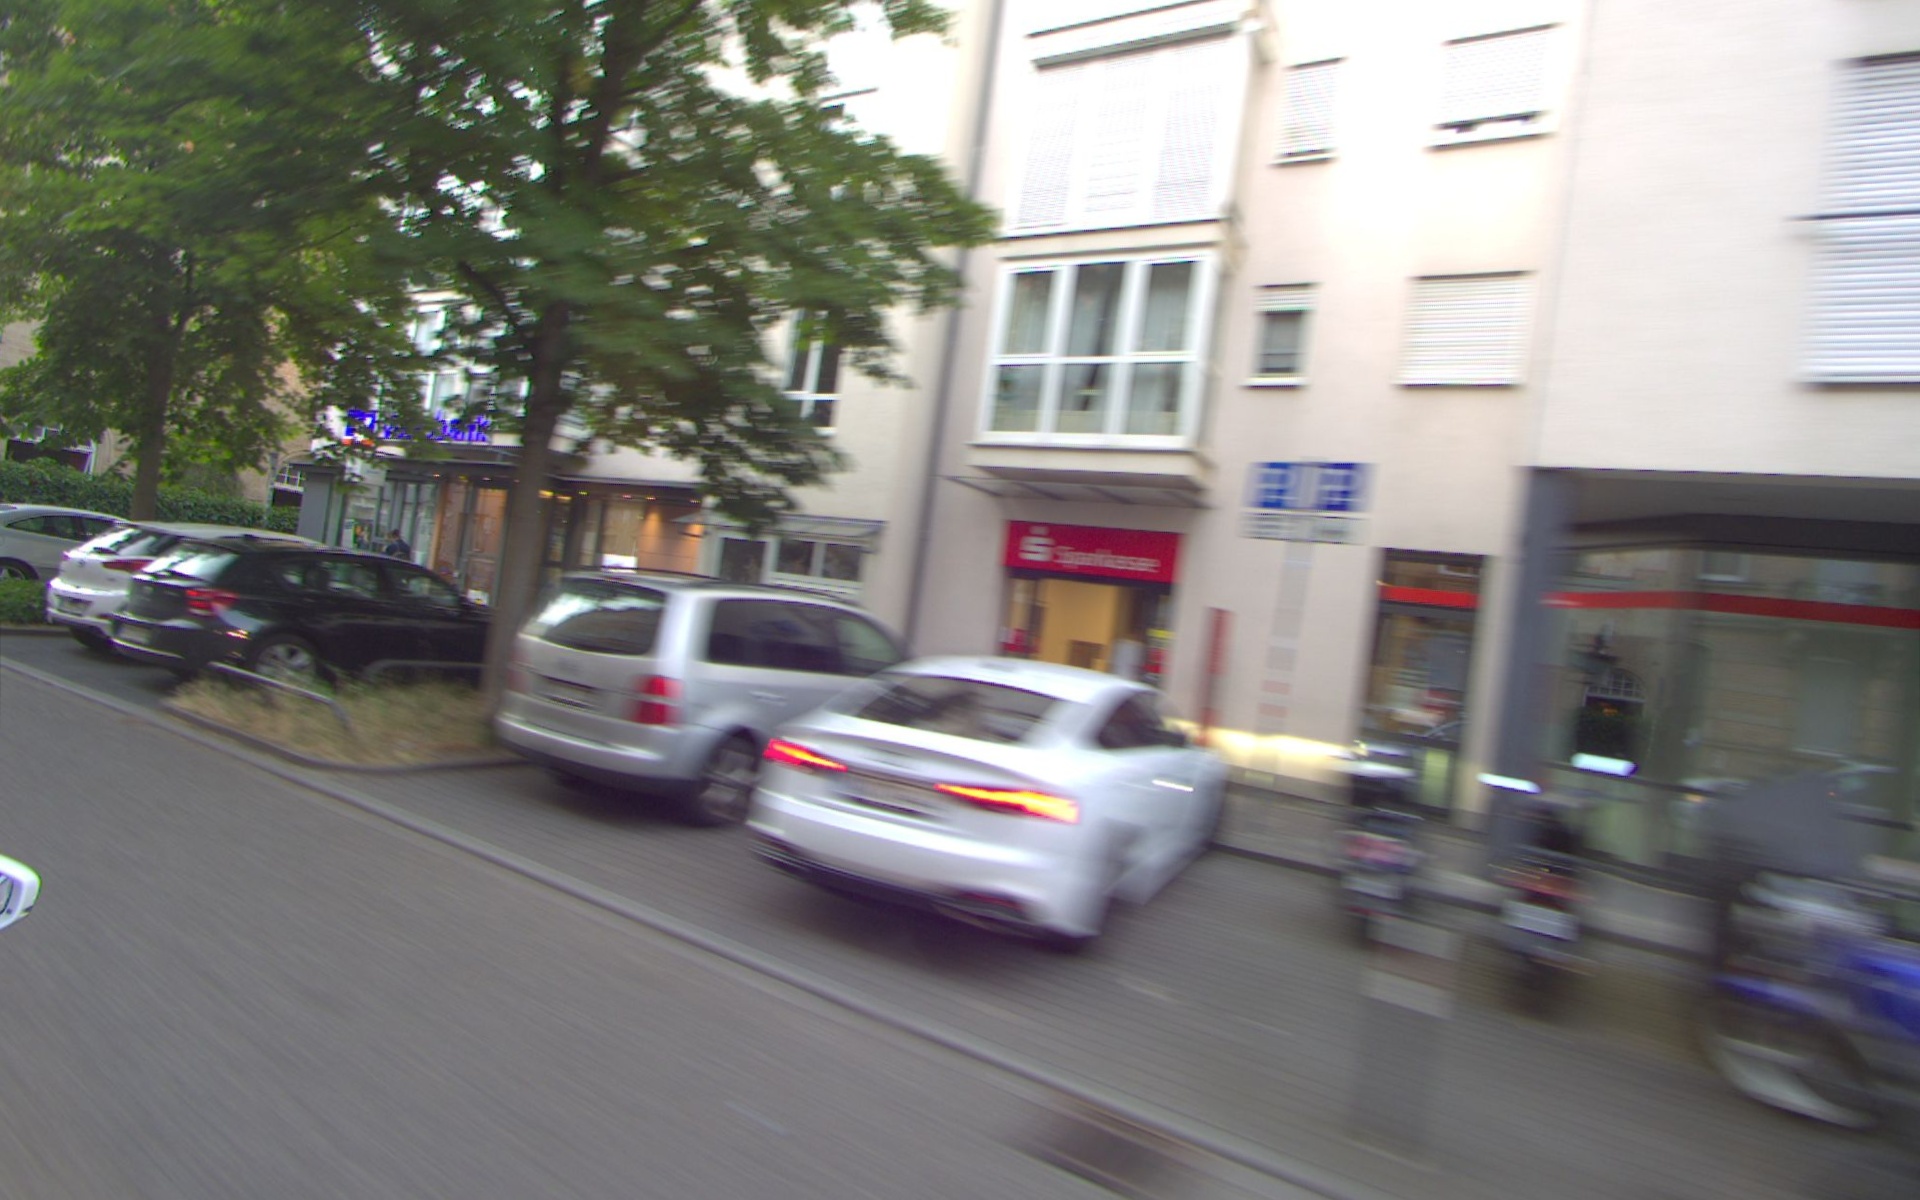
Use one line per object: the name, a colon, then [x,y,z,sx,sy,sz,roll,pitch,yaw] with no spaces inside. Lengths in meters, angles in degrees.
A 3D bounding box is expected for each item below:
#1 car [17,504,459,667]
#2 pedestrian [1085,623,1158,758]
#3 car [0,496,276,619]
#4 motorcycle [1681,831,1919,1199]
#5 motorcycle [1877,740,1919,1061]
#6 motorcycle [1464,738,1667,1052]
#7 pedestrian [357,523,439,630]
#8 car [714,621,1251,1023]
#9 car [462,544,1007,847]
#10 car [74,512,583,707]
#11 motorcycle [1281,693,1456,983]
car: [-8.216,-0.076,11.857,1.704,1.471,3.802,8,0,26]
pedestrian: [2.241,1.253,13.934,0.578,1.772,0.626,6,-2,34]
car: [-13.147,-0.653,15.278,1.851,1.471,4.089,8,0,33]
motorcycle: [3.317,1.561,3.398,0.651,1.091,2.065,7,0,16]
motorcycle: [5.054,1.536,4.550,0.810,1.568,2.493,6,0,33]
motorcycle: [3.465,1.529,5.775,0.705,1.259,2.059,8,1,32]
pedestrian: [-9.834,-0.406,17.606,0.947,1.737,0.728,7,1,31]
car: [0.581,1.068,6.567,1.748,1.473,4.435,7,0,25]
car: [-1.473,0.701,8.308,1.717,1.668,4.406,7,0,30]
car: [-6.195,0.187,10.401,1.796,1.473,3.995,8,-1,28]
motorcycle: [2.660,1.360,6.396,0.705,1.386,2.061,8,1,27]
